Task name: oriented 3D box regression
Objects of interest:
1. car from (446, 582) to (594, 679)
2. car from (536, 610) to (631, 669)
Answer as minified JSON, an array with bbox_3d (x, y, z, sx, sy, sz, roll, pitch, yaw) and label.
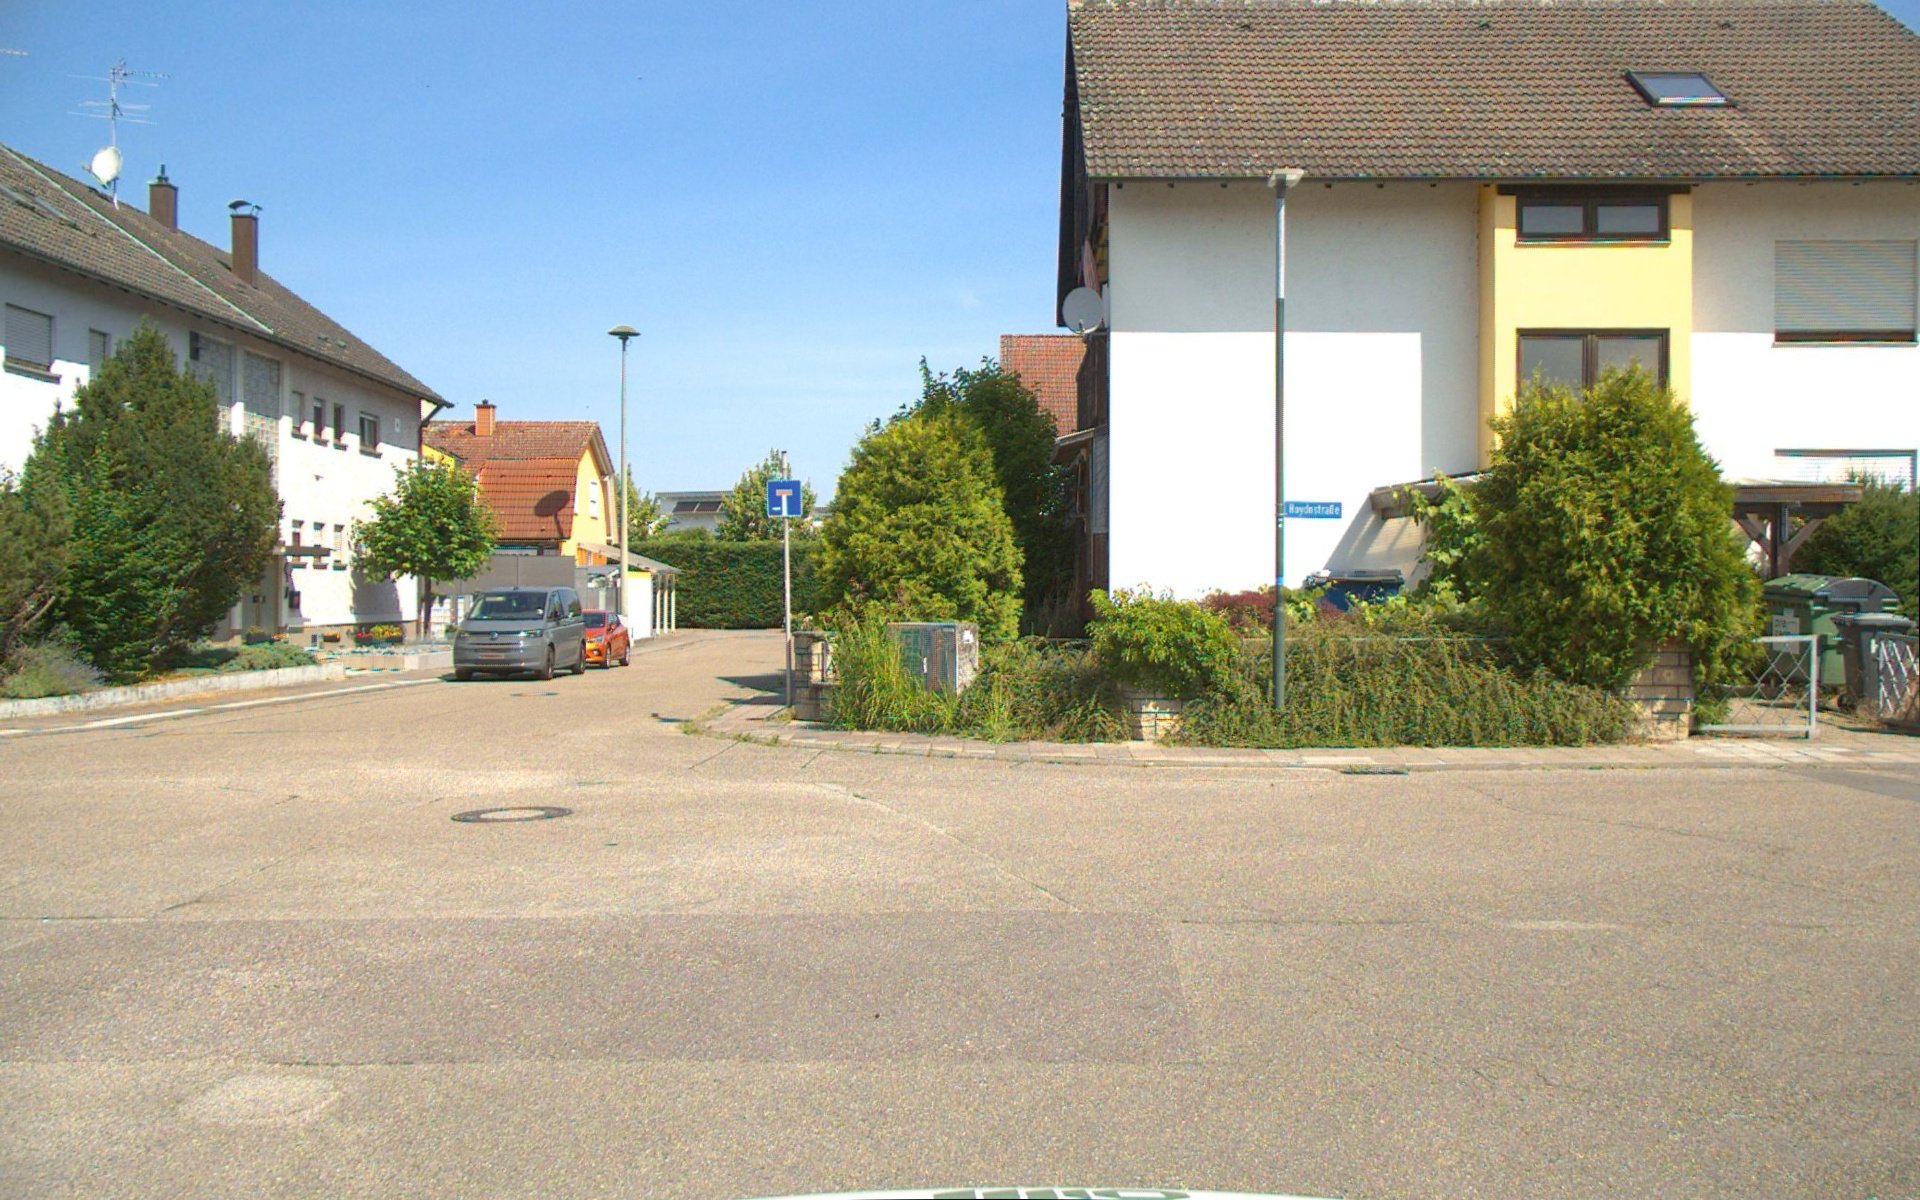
[{"bbox_3d":[-9.175,0.590,34.858,1.862,1.902,4.372,0,0,1],"label":"car"},{"bbox_3d":[-9.356,0.942,41.348,1.618,1.389,3.777,0,0,-2],"label":"car"}]
